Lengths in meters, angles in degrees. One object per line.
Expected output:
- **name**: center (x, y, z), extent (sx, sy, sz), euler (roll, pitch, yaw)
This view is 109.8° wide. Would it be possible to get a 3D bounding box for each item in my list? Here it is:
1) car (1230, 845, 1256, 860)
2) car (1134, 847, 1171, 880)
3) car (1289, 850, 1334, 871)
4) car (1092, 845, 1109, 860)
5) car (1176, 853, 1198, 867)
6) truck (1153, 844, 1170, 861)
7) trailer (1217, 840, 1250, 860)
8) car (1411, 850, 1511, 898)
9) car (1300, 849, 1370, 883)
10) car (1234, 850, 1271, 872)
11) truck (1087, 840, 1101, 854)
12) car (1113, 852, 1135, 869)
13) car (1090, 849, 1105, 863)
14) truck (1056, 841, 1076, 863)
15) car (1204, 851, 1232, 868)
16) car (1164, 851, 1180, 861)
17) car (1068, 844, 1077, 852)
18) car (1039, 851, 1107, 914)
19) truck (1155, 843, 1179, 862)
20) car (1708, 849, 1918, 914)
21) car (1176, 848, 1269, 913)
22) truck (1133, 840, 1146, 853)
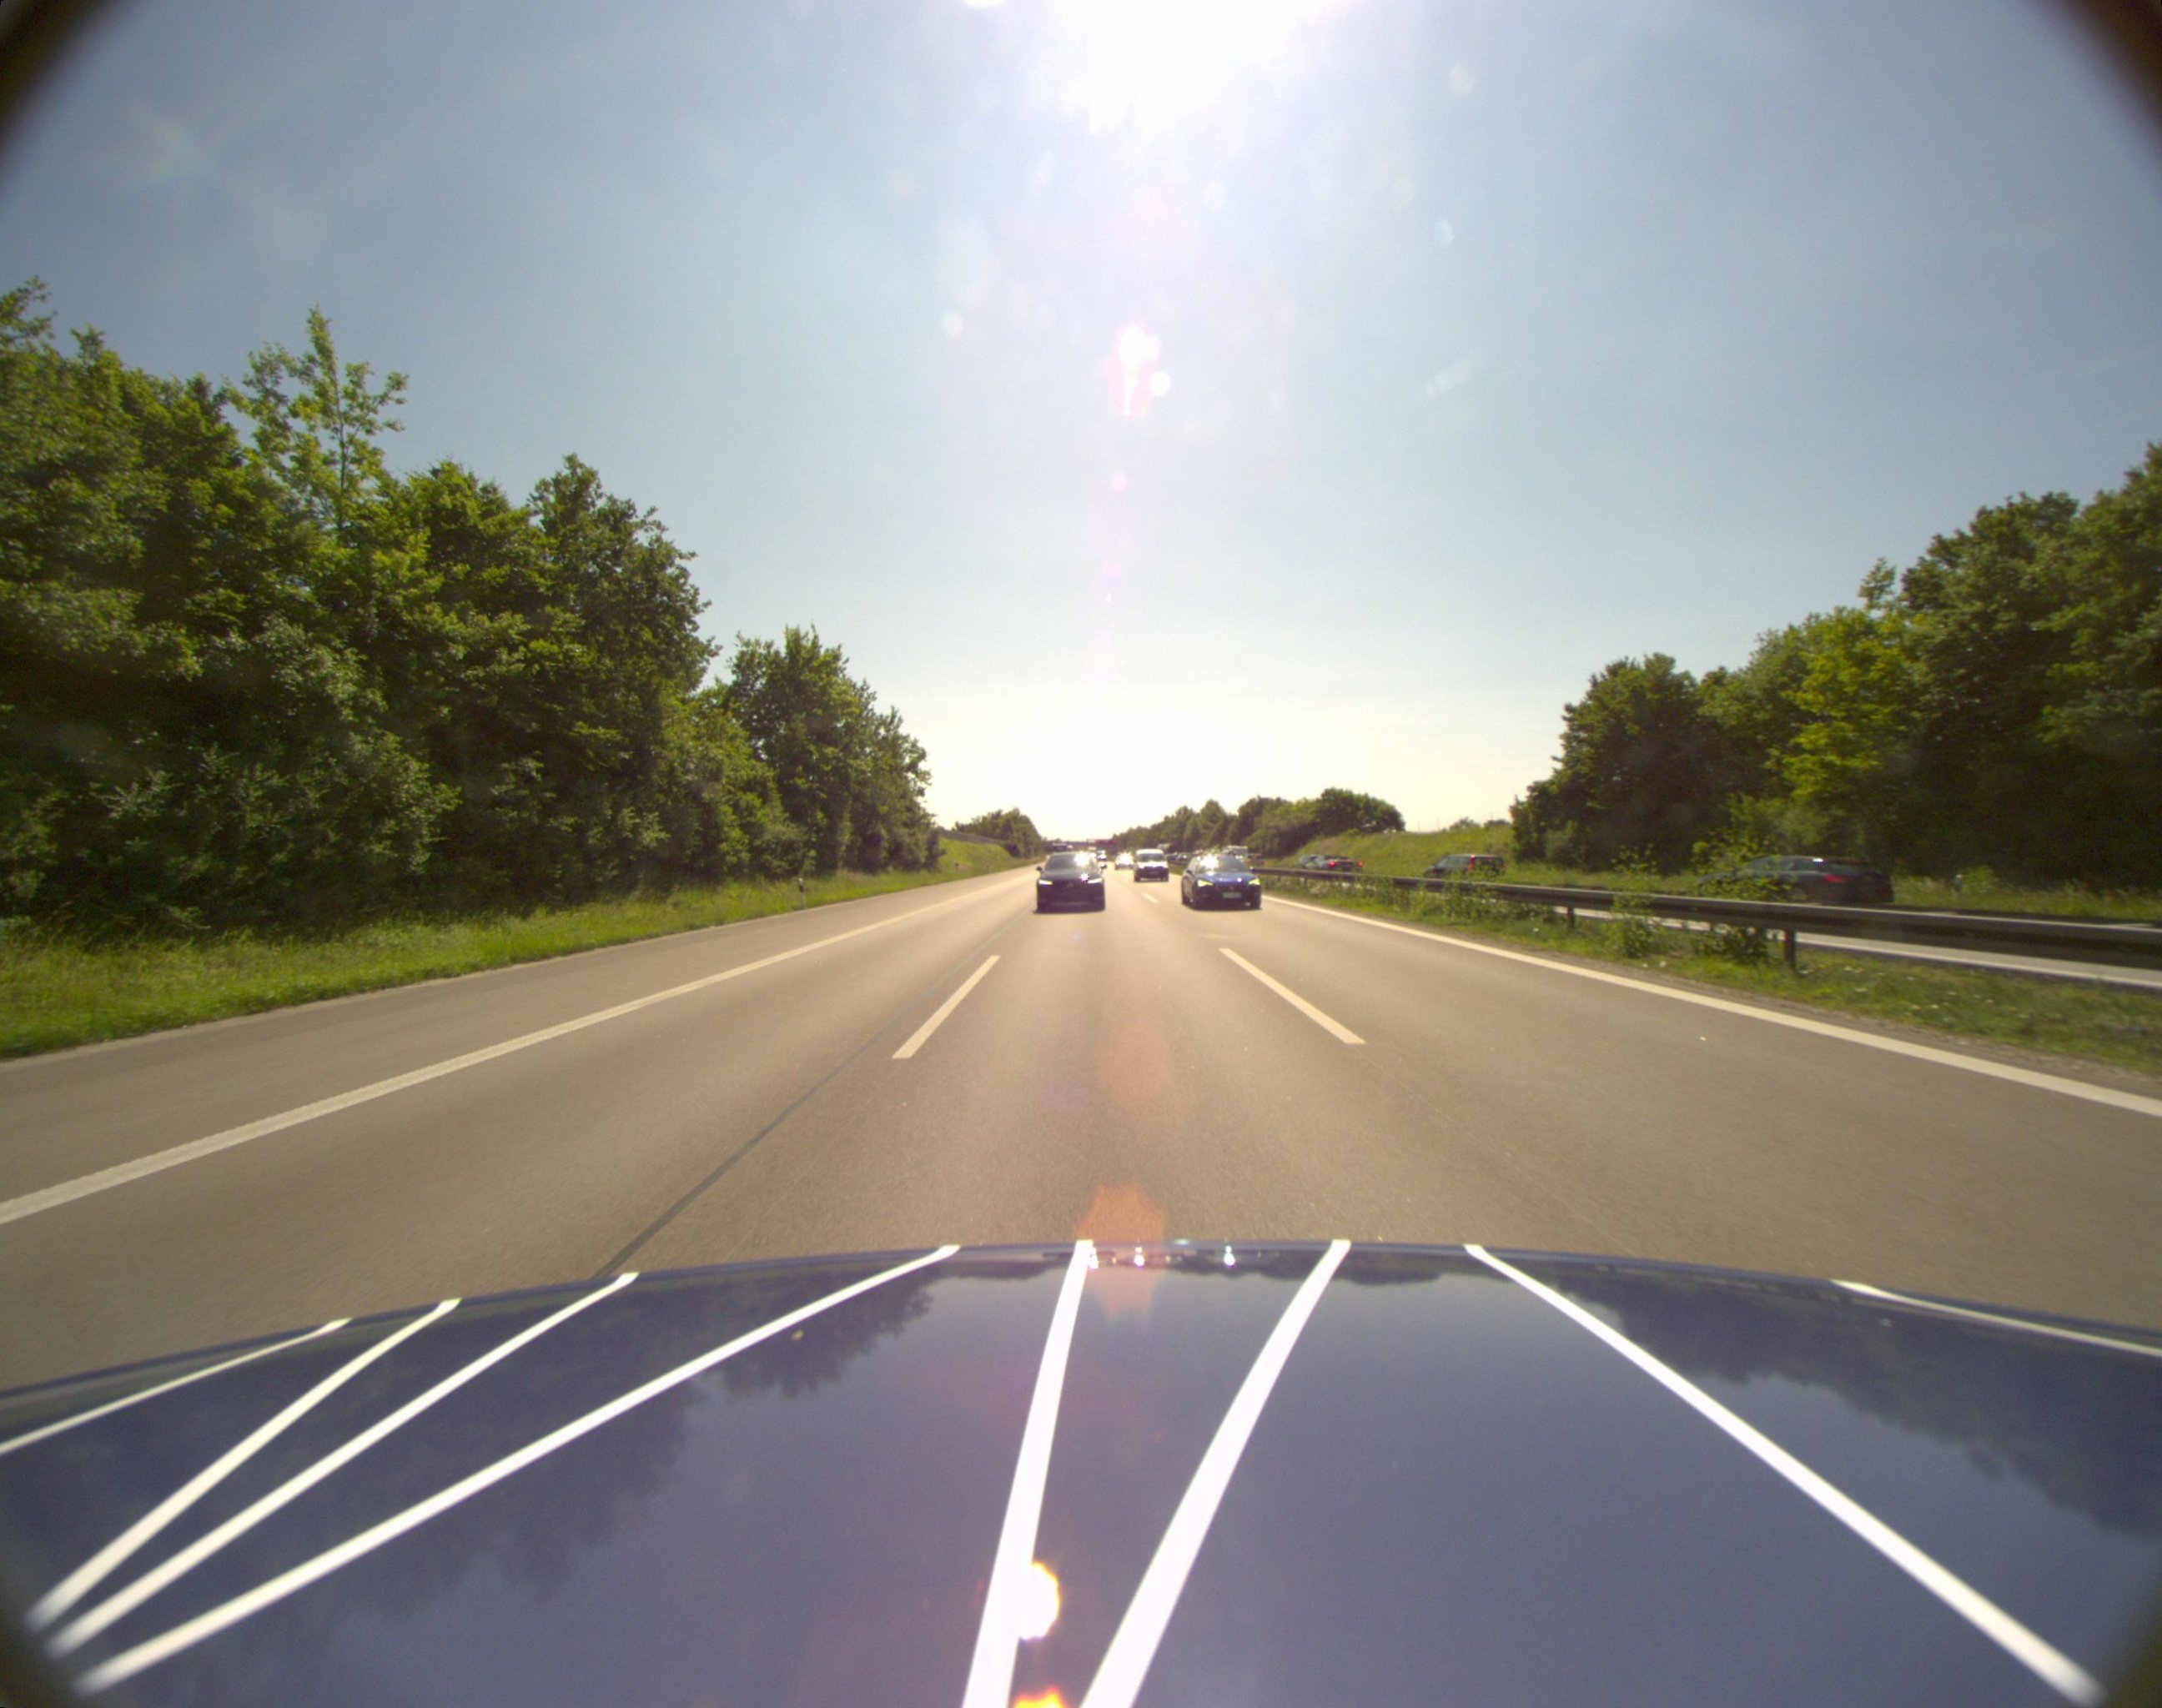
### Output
- **car**: center (16.713, -0.156, 78.707), extent (1.748, 1.419, 4.803), euler (-1, 0, 1)
- **car**: center (3.988, 0.484, 42.872), extent (1.870, 1.713, 3.980), euler (-1, 1, 2)
- **car**: center (17.052, 0.455, 56.473), extent (1.998, 1.388, 4.658), euler (-1, 1, 1)
- **car**: center (3.995, -0.418, 160.386), extent (3.243, 3.094, 7.602), euler (0, 1, -1)
- **car**: center (12.699, 0.704, 91.197), extent (1.916, 1.508, 4.616), euler (0, 0, 0)
- **truck**: center (19.334, -0.337, 183.323), extent (3.249, 4.026, 7.393), euler (0, 0, -1)
- **trailer**: center (20.728, -0.554, 103.801), extent (2.738, 2.671, 8.629), euler (-1, 0, 1)
- **car**: center (16.115, 0.787, 32.536), extent (1.998, 1.794, 4.695), euler (-1, 1, 1)
- **car**: center (12.933, 0.576, 39.051), extent (1.998, 1.595, 5.089), euler (-1, 0, 1)
- **car**: center (13.082, 0.495, 58.101), extent (1.854, 1.565, 4.421), euler (-1, 1, 0)
- **truck**: center (3.404, -1.782, 198.984), extent (3.243, 3.684, 10.933), euler (0, 0, -1)
- **car**: center (4.342, 0.666, 77.034), extent (1.998, 1.540, 3.999), euler (-1, 1, 1)
- **car**: center (2.032, 0.209, 91.659), extent (1.743, 1.630, 3.844), euler (0, 1, 2)
- **truck**: center (-2.339, -0.332, 116.004), extent (2.965, 3.388, 8.046), euler (0, 1, -1)
- **car**: center (13.242, 0.505, 73.510), extent (1.916, 1.508, 4.616), euler (0, 0, 0)
- **car**: center (12.481, 0.252, 104.252), extent (1.720, 1.382, 4.000), euler (0, 0, 0)
- **car**: center (-2.087, -1.480, 186.169), extent (1.998, 1.856, 4.228), euler (0, 0, 1)
- **car**: center (-0.192, 0.757, 22.584), extent (1.812, 1.648, 4.000), euler (-2, 0, 1)
- **truck**: center (19.613, -0.346, 174.193), extent (3.220, 4.026, 16.671), euler (0, 0, -1)
- **car**: center (19.675, 0.666, 20.729), extent (1.801, 1.545, 4.129), euler (2, 0, 2)
- **car**: center (3.897, 0.673, 21.631), extent (1.904, 1.616, 4.240), euler (-1, 0, 1)
- **truck**: center (19.083, -2.311, 248.338), extent (2.679, 4.055, 13.957), euler (1, 0, -1)
